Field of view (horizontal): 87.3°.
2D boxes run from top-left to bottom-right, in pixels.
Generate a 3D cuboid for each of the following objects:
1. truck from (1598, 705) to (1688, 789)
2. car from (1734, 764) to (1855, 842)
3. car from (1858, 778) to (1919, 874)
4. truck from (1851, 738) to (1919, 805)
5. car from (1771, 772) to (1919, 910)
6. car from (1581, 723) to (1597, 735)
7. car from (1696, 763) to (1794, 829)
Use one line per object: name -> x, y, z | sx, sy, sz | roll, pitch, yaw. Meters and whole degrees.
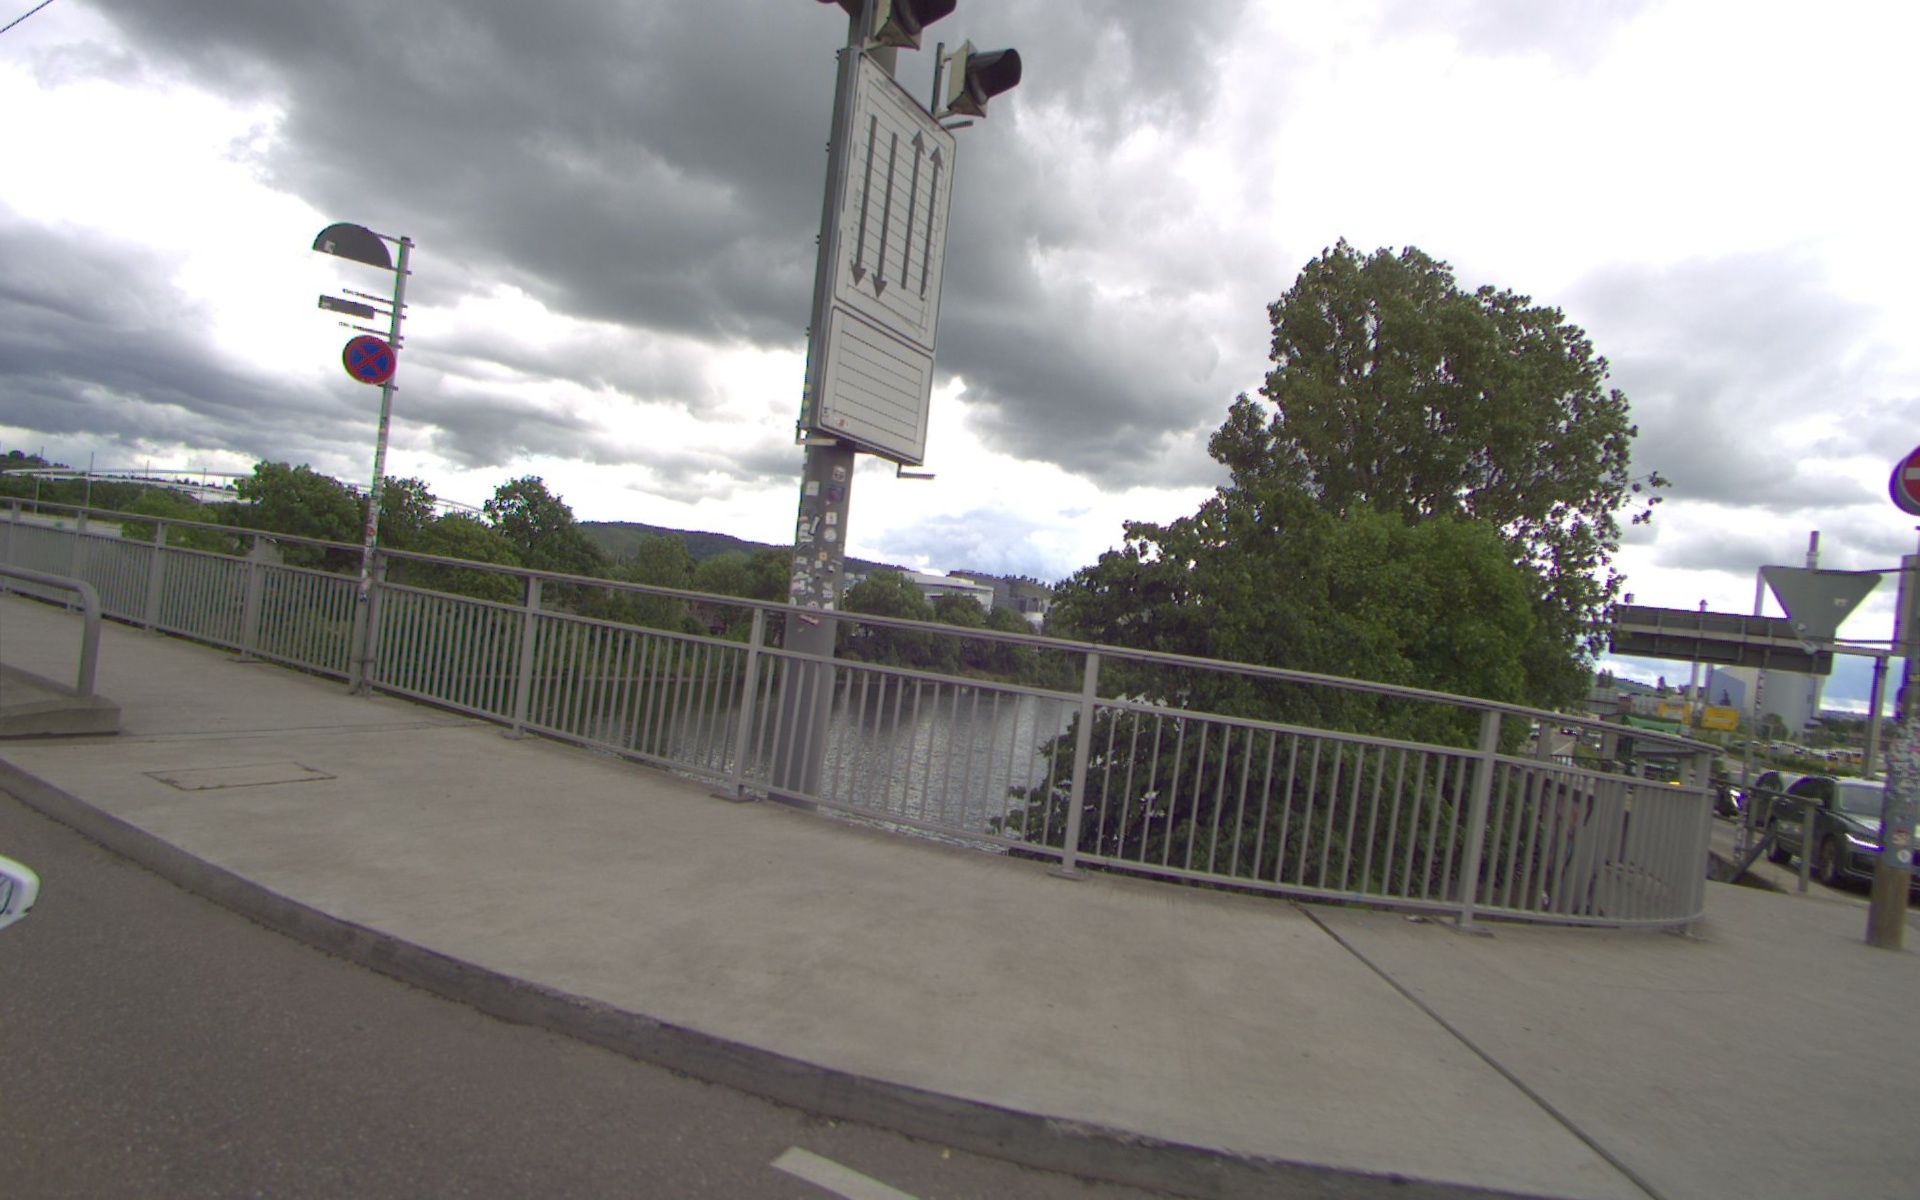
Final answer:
truck -> 35.507, 7.475, 52.602 | 2.735, 3.551, 9.247 | 7, -1, 30
car -> 22.324, 5.376, 27.056 | 1.667, 1.556, 3.760 | 6, -4, 28
car -> 18.527, 4.328, 18.801 | 1.667, 1.556, 3.623 | 6, -4, 28
truck -> 87.437, 15.909, 93.558 | 3.527, 4.544, 13.151 | 7, 1, 29
car -> 12.821, 3.286, 13.870 | 1.666, 1.436, 4.154 | 5, -4, 28
car -> 111.497, 22.858, 178.312 | 1.966, 1.725, 4.079 | 5, -4, 28
car -> 24.468, 6.065, 31.468 | 1.667, 1.556, 3.760 | 6, -4, 28
